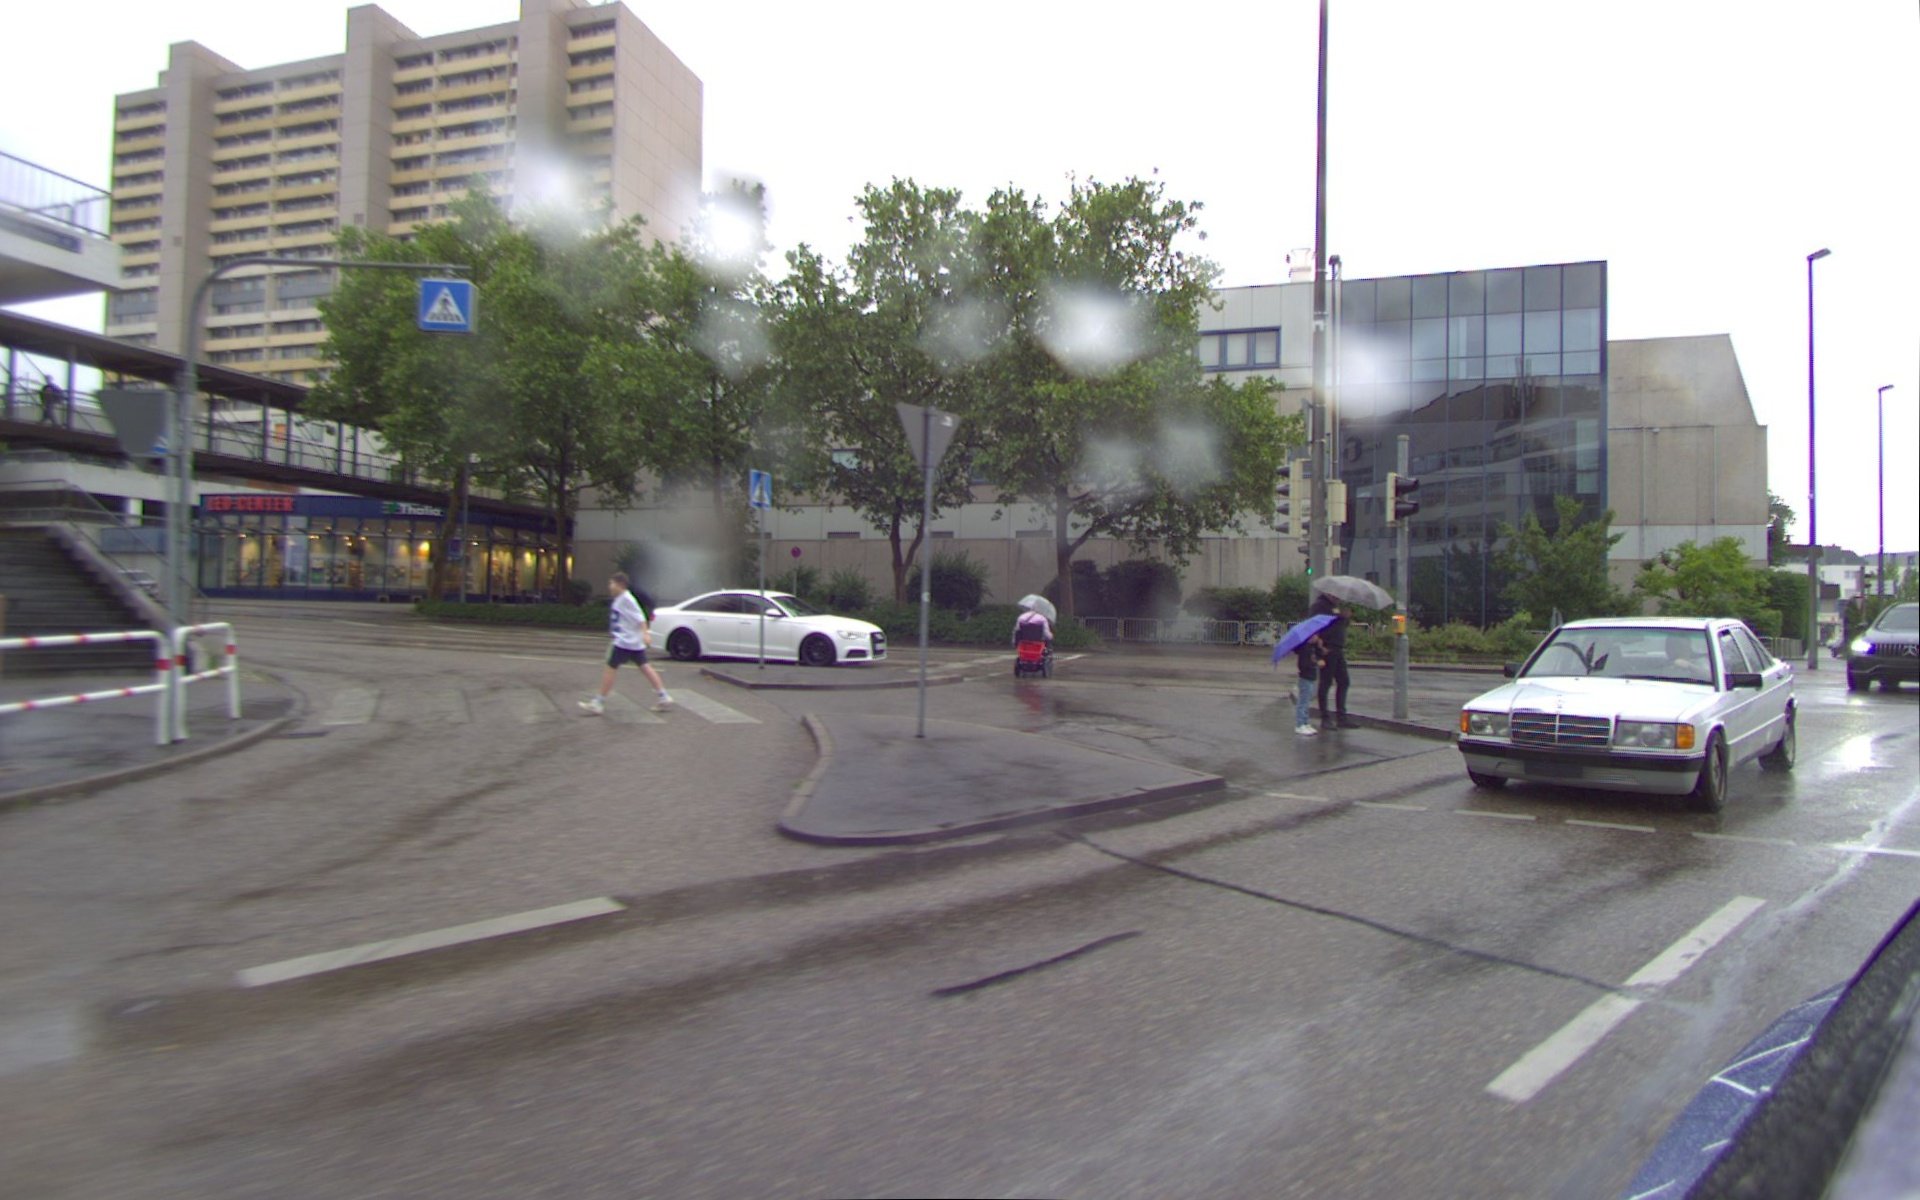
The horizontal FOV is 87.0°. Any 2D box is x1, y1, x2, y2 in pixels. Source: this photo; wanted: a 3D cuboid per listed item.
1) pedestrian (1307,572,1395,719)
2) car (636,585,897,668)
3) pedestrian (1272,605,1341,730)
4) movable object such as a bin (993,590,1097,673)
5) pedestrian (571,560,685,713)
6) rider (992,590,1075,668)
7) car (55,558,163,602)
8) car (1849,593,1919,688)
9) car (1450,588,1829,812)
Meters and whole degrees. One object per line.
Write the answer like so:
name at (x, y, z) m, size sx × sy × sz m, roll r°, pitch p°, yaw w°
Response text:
pedestrian at (4.511, 0.501, 11.678) m, size 0.643 × 1.628 × 0.710 m, roll 1°, pitch -1°, yaw -36°
car at (-3.750, 0.457, 19.707) m, size 4.725 × 1.424 × 1.802 m, roll 1°, pitch 0°, yaw 18°
pedestrian at (3.945, 0.741, 11.511) m, size 0.702 × 1.362 × 0.650 m, roll 0°, pitch 0°, yaw 23°
movable object such as a bin at (1.502, 0.531, 17.946) m, size 1.428 × 1.348 × 1.132 m, roll 1°, pitch 2°, yaw -40°
pedestrian at (-3.939, 0.423, 12.011) m, size 1.106 × 1.712 × 0.831 m, roll 1°, pitch -2°, yaw -31°
rider at (1.304, 0.516, 17.962) m, size 1.071 × 1.300 × 0.924 m, roll 3°, pitch 0°, yaw -40°
car at (-38.240, -0.897, 45.490) m, size 3.946 × 1.829 × 1.825 m, roll 1°, pitch -1°, yaw 18°
car at (18.180, 0.739, 18.652) m, size 4.255 × 1.642 × 1.906 m, roll 2°, pitch -3°, yaw -38°
car at (5.956, 0.719, 8.667) m, size 4.194 × 1.467 × 1.636 m, roll 1°, pitch -3°, yaw -41°
